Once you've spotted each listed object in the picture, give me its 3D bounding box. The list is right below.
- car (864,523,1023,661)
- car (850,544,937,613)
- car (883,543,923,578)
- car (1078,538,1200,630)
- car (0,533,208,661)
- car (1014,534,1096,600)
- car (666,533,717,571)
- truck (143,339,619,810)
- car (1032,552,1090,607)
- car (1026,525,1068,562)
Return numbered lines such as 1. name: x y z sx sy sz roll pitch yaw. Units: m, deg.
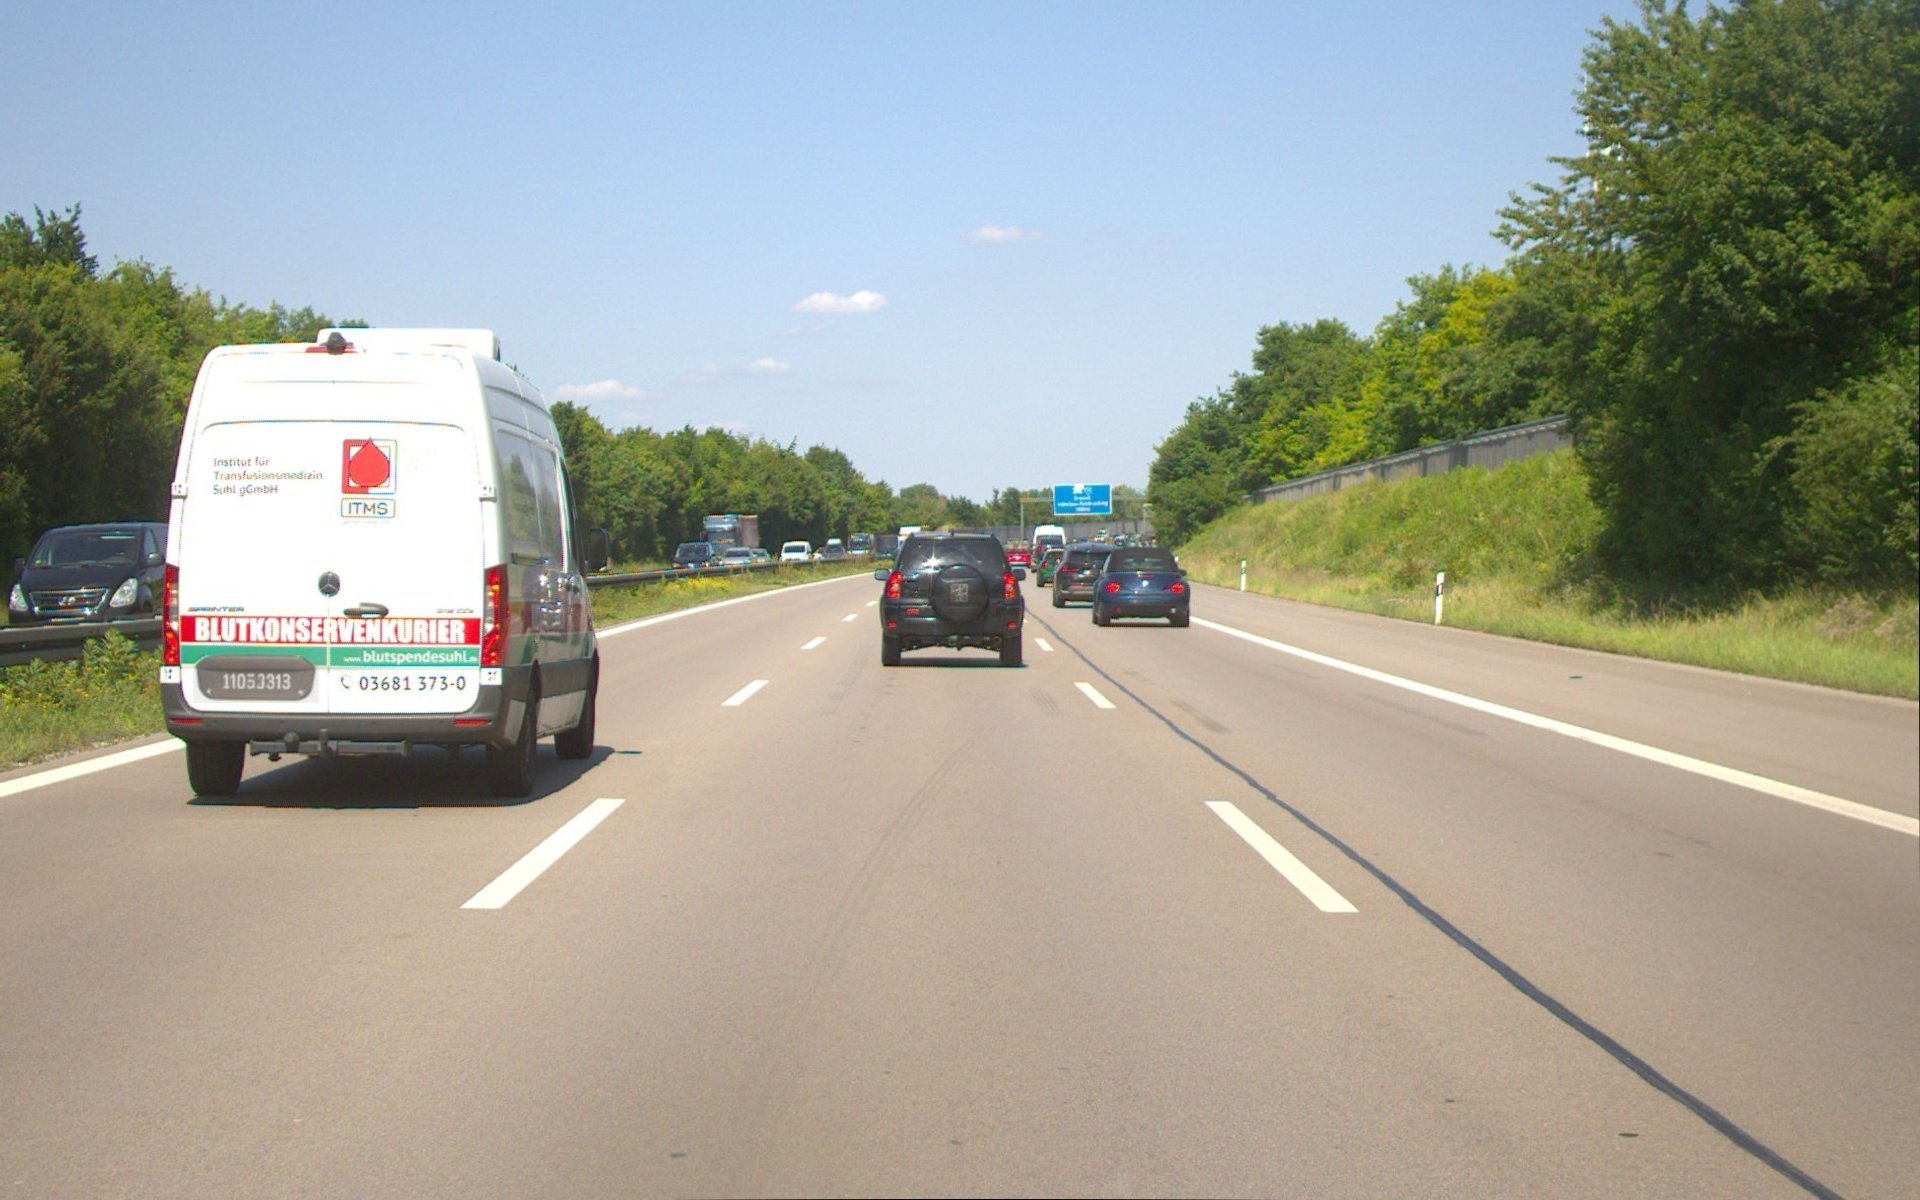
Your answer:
1. car: -0.255 -0.096 43.676 1.906 1.659 4.000 0 0 -2
2. car: -1.702 -0.573 88.966 1.993 1.700 4.336 -1 1 2
3. car: -3.373 -2.339 202.855 1.994 2.007 4.949 -1 1 3
4. car: 3.375 -0.304 65.590 1.993 1.678 4.000 0 0 -2
5. car: -12.680 -0.082 51.206 1.906 1.782 5.060 -1 1 -1
6. car: 2.354 -0.807 85.874 1.842 1.606 4.000 0 0 -1
7. car: -12.217 -2.189 156.526 1.993 1.660 4.474 -1 1 -1
8. truck: -3.489 -0.205 22.092 1.993 2.533 6.692 1 1 -1
9. car: 3.720 -0.746 127.370 1.993 2.007 4.000 0 0 0
10. car: 4.874 -3.197 193.108 1.993 2.007 4.768 -1 1 -3
